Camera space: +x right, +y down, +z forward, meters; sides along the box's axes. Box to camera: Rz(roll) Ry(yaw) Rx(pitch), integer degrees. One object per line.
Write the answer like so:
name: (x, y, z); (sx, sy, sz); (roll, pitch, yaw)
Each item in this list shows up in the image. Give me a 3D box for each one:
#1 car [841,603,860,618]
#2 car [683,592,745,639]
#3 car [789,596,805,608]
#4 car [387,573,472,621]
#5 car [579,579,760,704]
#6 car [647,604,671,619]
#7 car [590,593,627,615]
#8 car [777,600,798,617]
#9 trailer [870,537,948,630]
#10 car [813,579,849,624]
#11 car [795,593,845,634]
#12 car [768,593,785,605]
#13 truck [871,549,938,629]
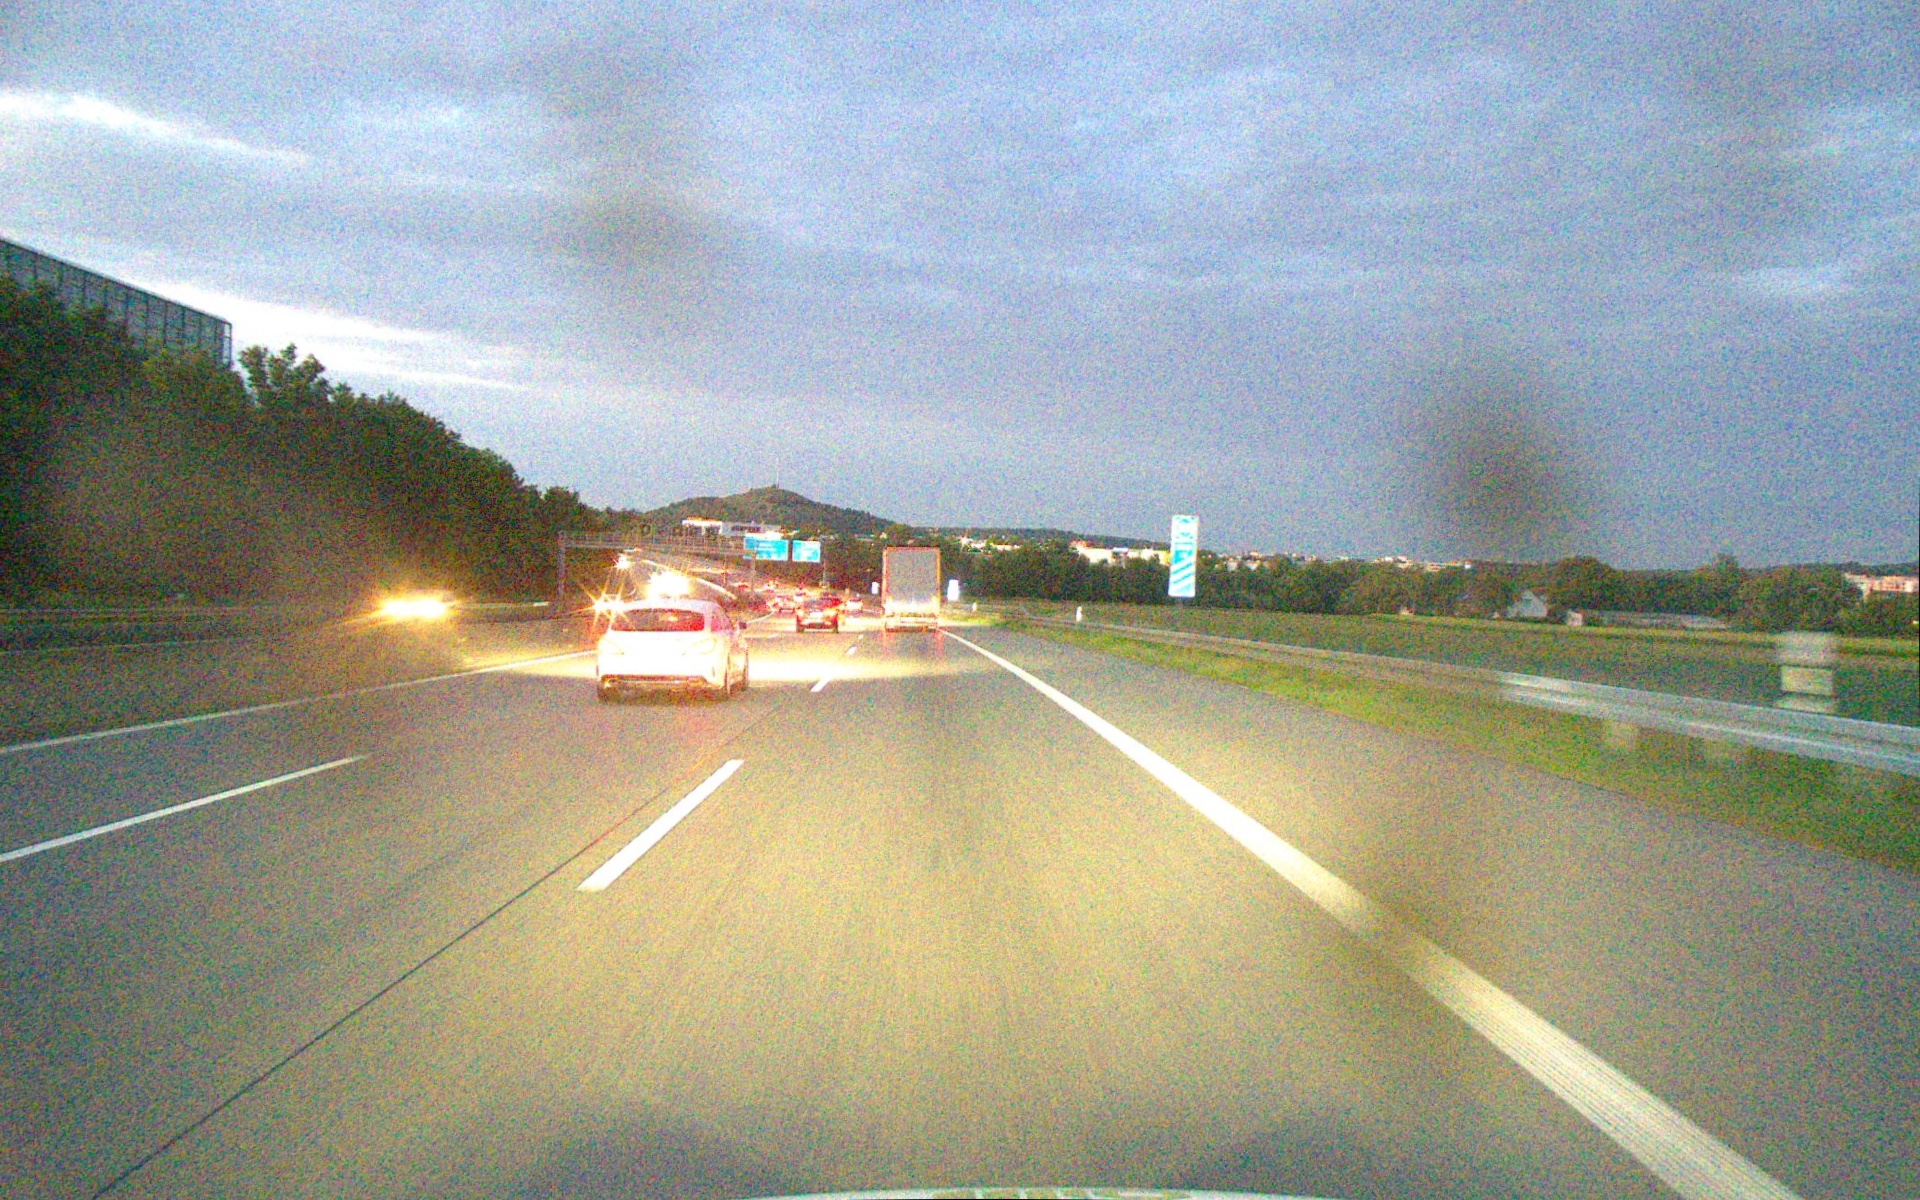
car: (-11.649, 1.126, 175.891); (1.955, 1.561, 3.995); (1, 0, -5)
car: (-8.714, 0.544, 58.870); (1.727, 1.602, 4.573); (1, 0, -3)
car: (-23.899, 0.274, 242.767); (1.958, 1.650, 3.988); (1, 0, -12)
car: (-21.179, -0.109, 66.189); (1.953, 1.822, 4.838); (1, 0, -2)
car: (-4.202, 0.573, 24.667); (1.868, 1.642, 4.803); (1, 0, -1)
car: (-28.777, 1.082, 158.171); (1.799, 1.359, 4.904); (1, 0, -5)
car: (-24.649, 0.257, 116.054); (1.954, 1.478, 3.832); (1, 0, -3)
car: (-17.582, 0.886, 168.790); (1.956, 1.650, 3.992); (1, 0, -9)
trailer: (-2.691, -0.657, 82.552); (3.479, 4.188, 15.052); (1, -1, -3)
car: (-7.294, 0.091, 93.620); (1.955, 2.422, 3.996); (1, 0, -5)
car: (-6.140, 0.596, 72.874); (2.024, 1.715, 4.573); (1, 0, -4)
car: (-24.293, -0.152, 218.996); (1.957, 1.494, 3.991); (1, 0, -10)
truck: (-3.066, -0.566, 90.159); (3.480, 4.163, 6.147); (1, -1, -3)
